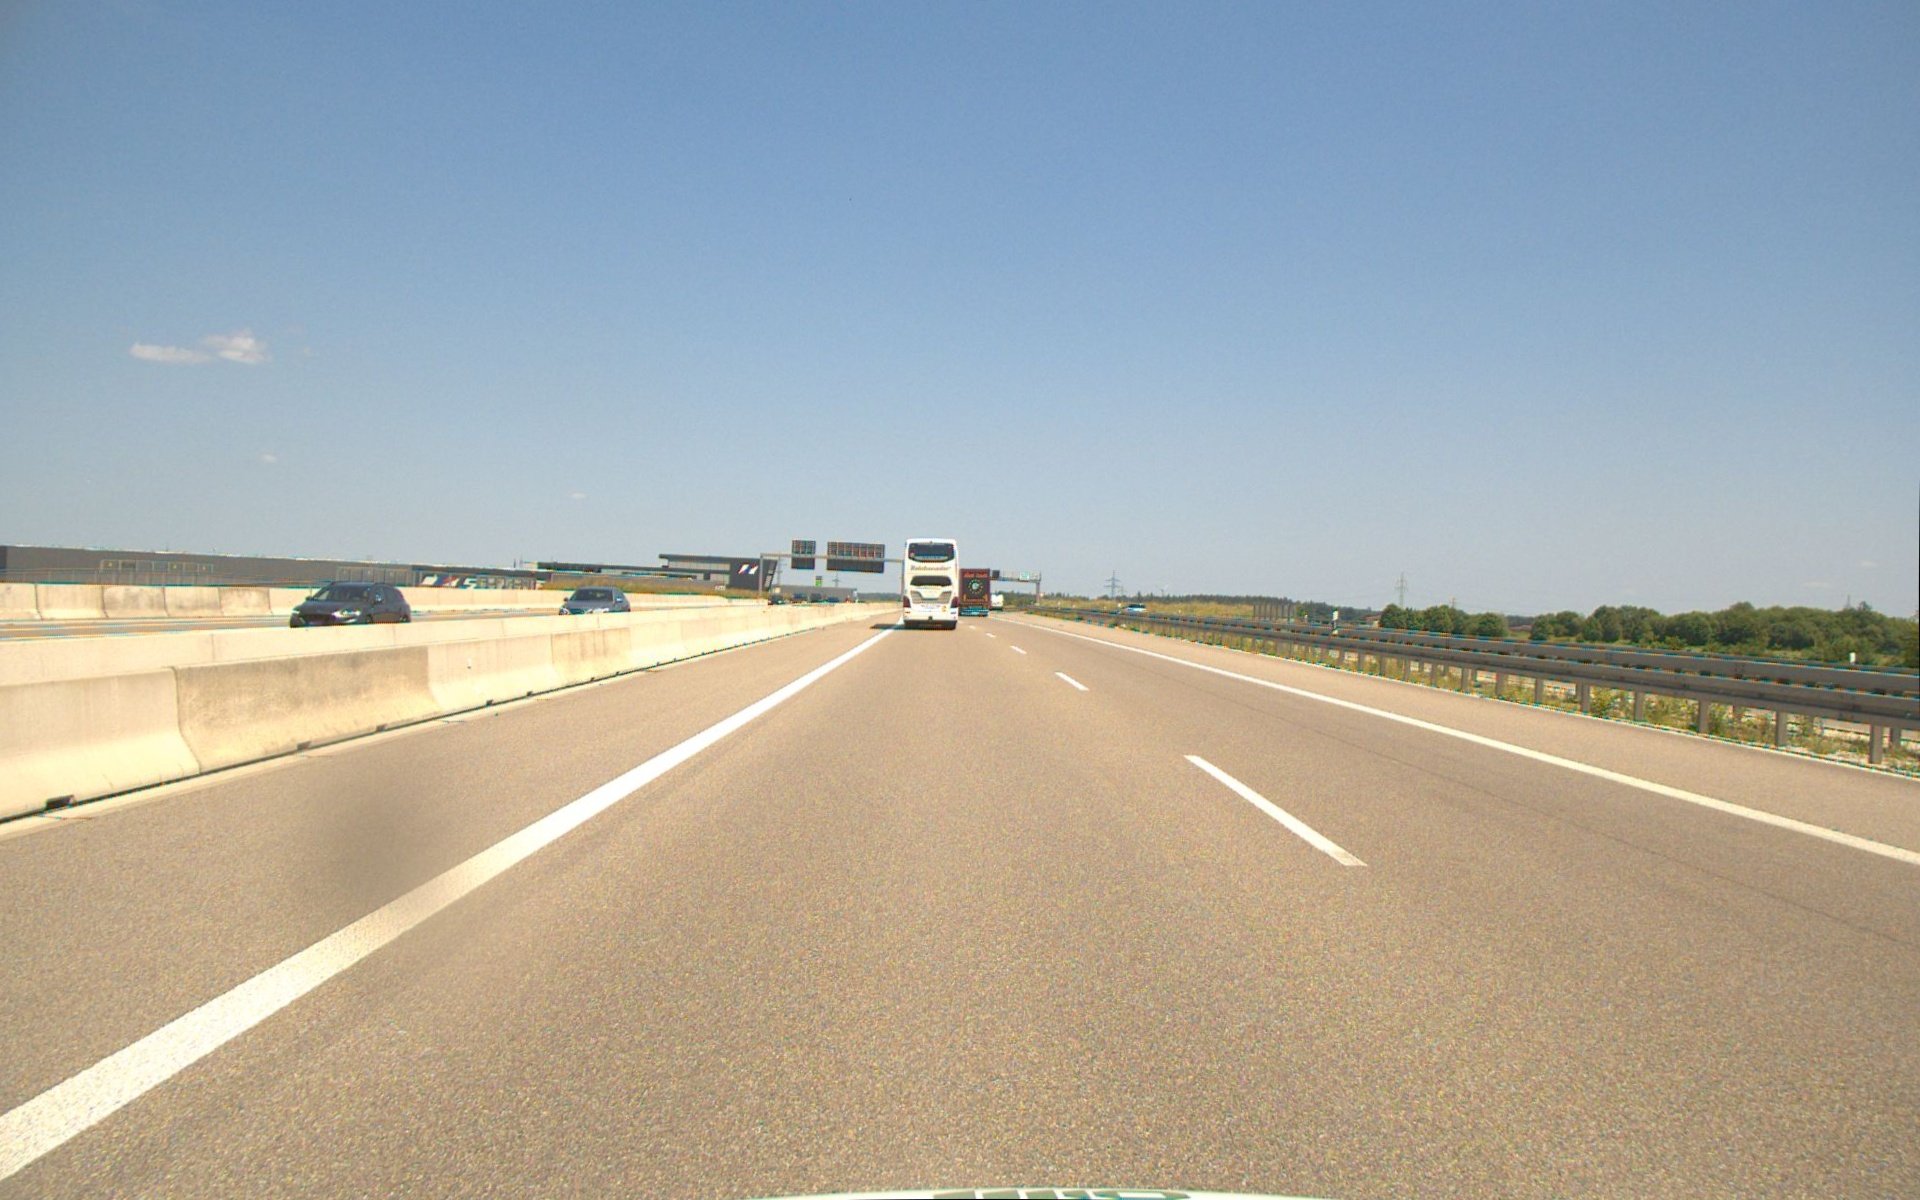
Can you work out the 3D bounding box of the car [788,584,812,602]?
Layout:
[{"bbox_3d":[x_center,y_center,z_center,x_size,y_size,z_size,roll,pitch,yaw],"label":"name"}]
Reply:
[{"bbox_3d":[-15.805,-0.692,163.883,1.846,1.716,5.015,1,0,0],"label":"car"}]

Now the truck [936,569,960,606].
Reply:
[{"bbox_3d":[-1.296,-1.301,178.742,2.388,3.855,6.491,1,0,-2],"label":"truck"}]

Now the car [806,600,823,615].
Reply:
[{"bbox_3d":[-20.002,0.985,227.282,1.846,2.053,4.734,1,0,0],"label":"car"}]

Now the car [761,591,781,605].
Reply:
[{"bbox_3d":[-20.527,-0.185,179.818,1.871,1.485,4.283,1,0,-2],"label":"car"}]

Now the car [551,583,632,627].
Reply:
[{"bbox_3d":[-12.678,0.161,57.131,1.805,1.445,4.525,1,0,0],"label":"car"}]

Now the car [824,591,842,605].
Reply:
[{"bbox_3d":[-16.210,-0.272,211.293,1.952,1.698,4.649,1,0,0],"label":"car"}]

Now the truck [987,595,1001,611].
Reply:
[{"bbox_3d":[5.412,0.500,261.920,1.953,2.384,4.949,1,0,-1],"label":"truck"}]

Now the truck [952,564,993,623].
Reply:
[{"bbox_3d":[1.150,-0.438,146.002,3.310,4.542,13.566,2,-2,1],"label":"truck"}]

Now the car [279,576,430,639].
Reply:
[{"bbox_3d":[-15.209,0.169,41.854,1.873,1.445,4.909,1,0,1],"label":"car"}]

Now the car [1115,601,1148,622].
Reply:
[{"bbox_3d":[13.675,0.931,132.190,1.854,1.556,4.258,1,0,-4],"label":"car"}]

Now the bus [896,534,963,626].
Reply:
[{"bbox_3d":[-1.509,-0.907,77.956,2.920,4.044,9.101,1,0,-2],"label":"bus"}]
